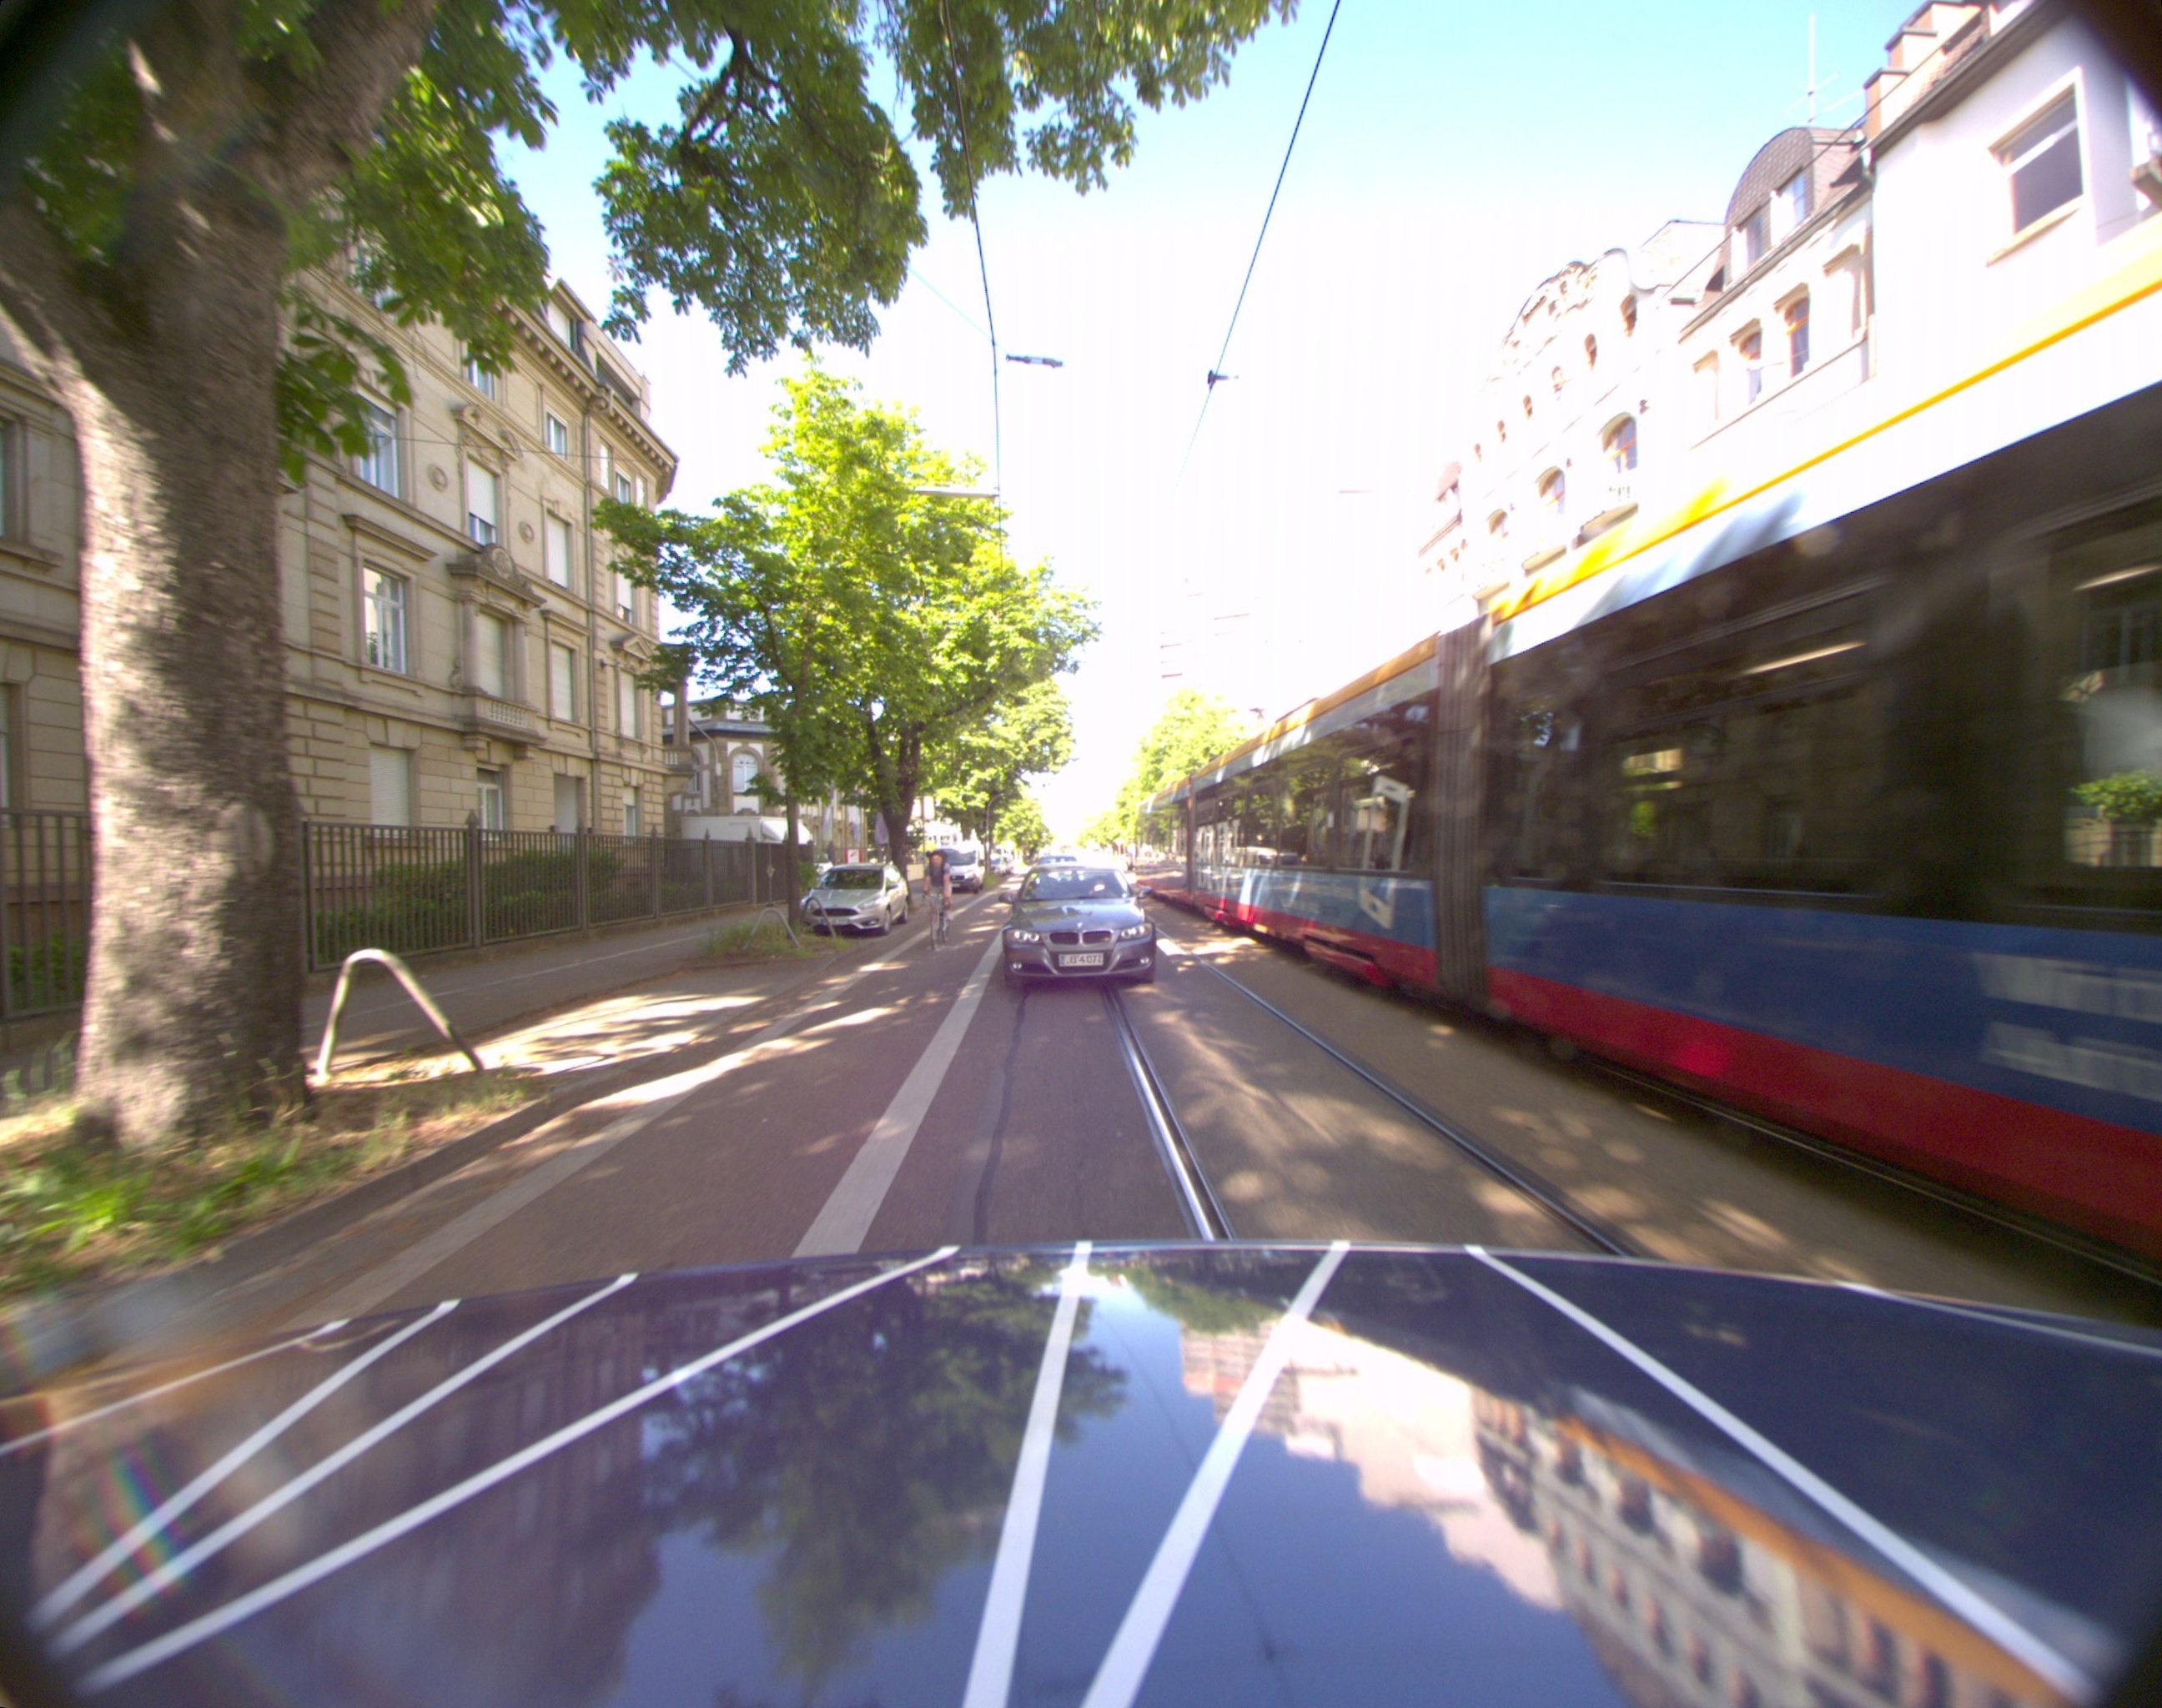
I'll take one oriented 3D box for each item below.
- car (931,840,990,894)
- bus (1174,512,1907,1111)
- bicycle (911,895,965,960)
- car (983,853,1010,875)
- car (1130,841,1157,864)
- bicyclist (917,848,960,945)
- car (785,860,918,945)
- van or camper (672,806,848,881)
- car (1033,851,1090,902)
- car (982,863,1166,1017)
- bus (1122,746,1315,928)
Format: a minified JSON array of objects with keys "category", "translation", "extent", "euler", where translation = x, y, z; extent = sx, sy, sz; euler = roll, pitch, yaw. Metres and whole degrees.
[{"category":"car","translation":[-5.499,0.508,35.418],"extent":[2.132,2.329,5.802],"euler":[0,1,-4]},{"category":"bus","translation":[3.713,-0.378,10.487],"extent":[2.867,3.756,11.178],"euler":[-2,1,-3]},{"category":"bicycle","translation":[-2.522,1.268,13.604],"extent":[0.535,0.917,2.056],"euler":[-2,1,0]},{"category":"car","translation":[-6.451,0.756,58.384],"extent":[1.867,1.541,4.100],"euler":[-2,1,-3]},{"category":"car","translation":[5.849,-0.169,70.727],"extent":[1.997,1.893,4.002],"euler":[-2,1,10]},{"category":"bicyclist","translation":[-2.535,0.737,13.619],"extent":[0.532,1.660,0.878],"euler":[-2,2,0]},{"category":"car","translation":[-4.910,0.960,16.920],"extent":[1.877,1.534,4.363],"euler":[0,1,-4]},{"category":"van or camper","translation":[-12.590,-0.351,29.696],"extent":[6.721,2.612,2.126],"euler":[-2,2,23]},{"category":"car","translation":[-0.656,0.747,27.124],"extent":[1.828,1.559,3.999],"euler":[-2,1,0]},{"category":"car","translation":[-0.079,0.921,9.946],"extent":[1.870,1.426,3.999],"euler":[-2,1,0]},{"category":"bus","translation":[3.242,-0.459,21.864],"extent":[2.867,3.756,11.492],"euler":[-2,1,-3]}]
